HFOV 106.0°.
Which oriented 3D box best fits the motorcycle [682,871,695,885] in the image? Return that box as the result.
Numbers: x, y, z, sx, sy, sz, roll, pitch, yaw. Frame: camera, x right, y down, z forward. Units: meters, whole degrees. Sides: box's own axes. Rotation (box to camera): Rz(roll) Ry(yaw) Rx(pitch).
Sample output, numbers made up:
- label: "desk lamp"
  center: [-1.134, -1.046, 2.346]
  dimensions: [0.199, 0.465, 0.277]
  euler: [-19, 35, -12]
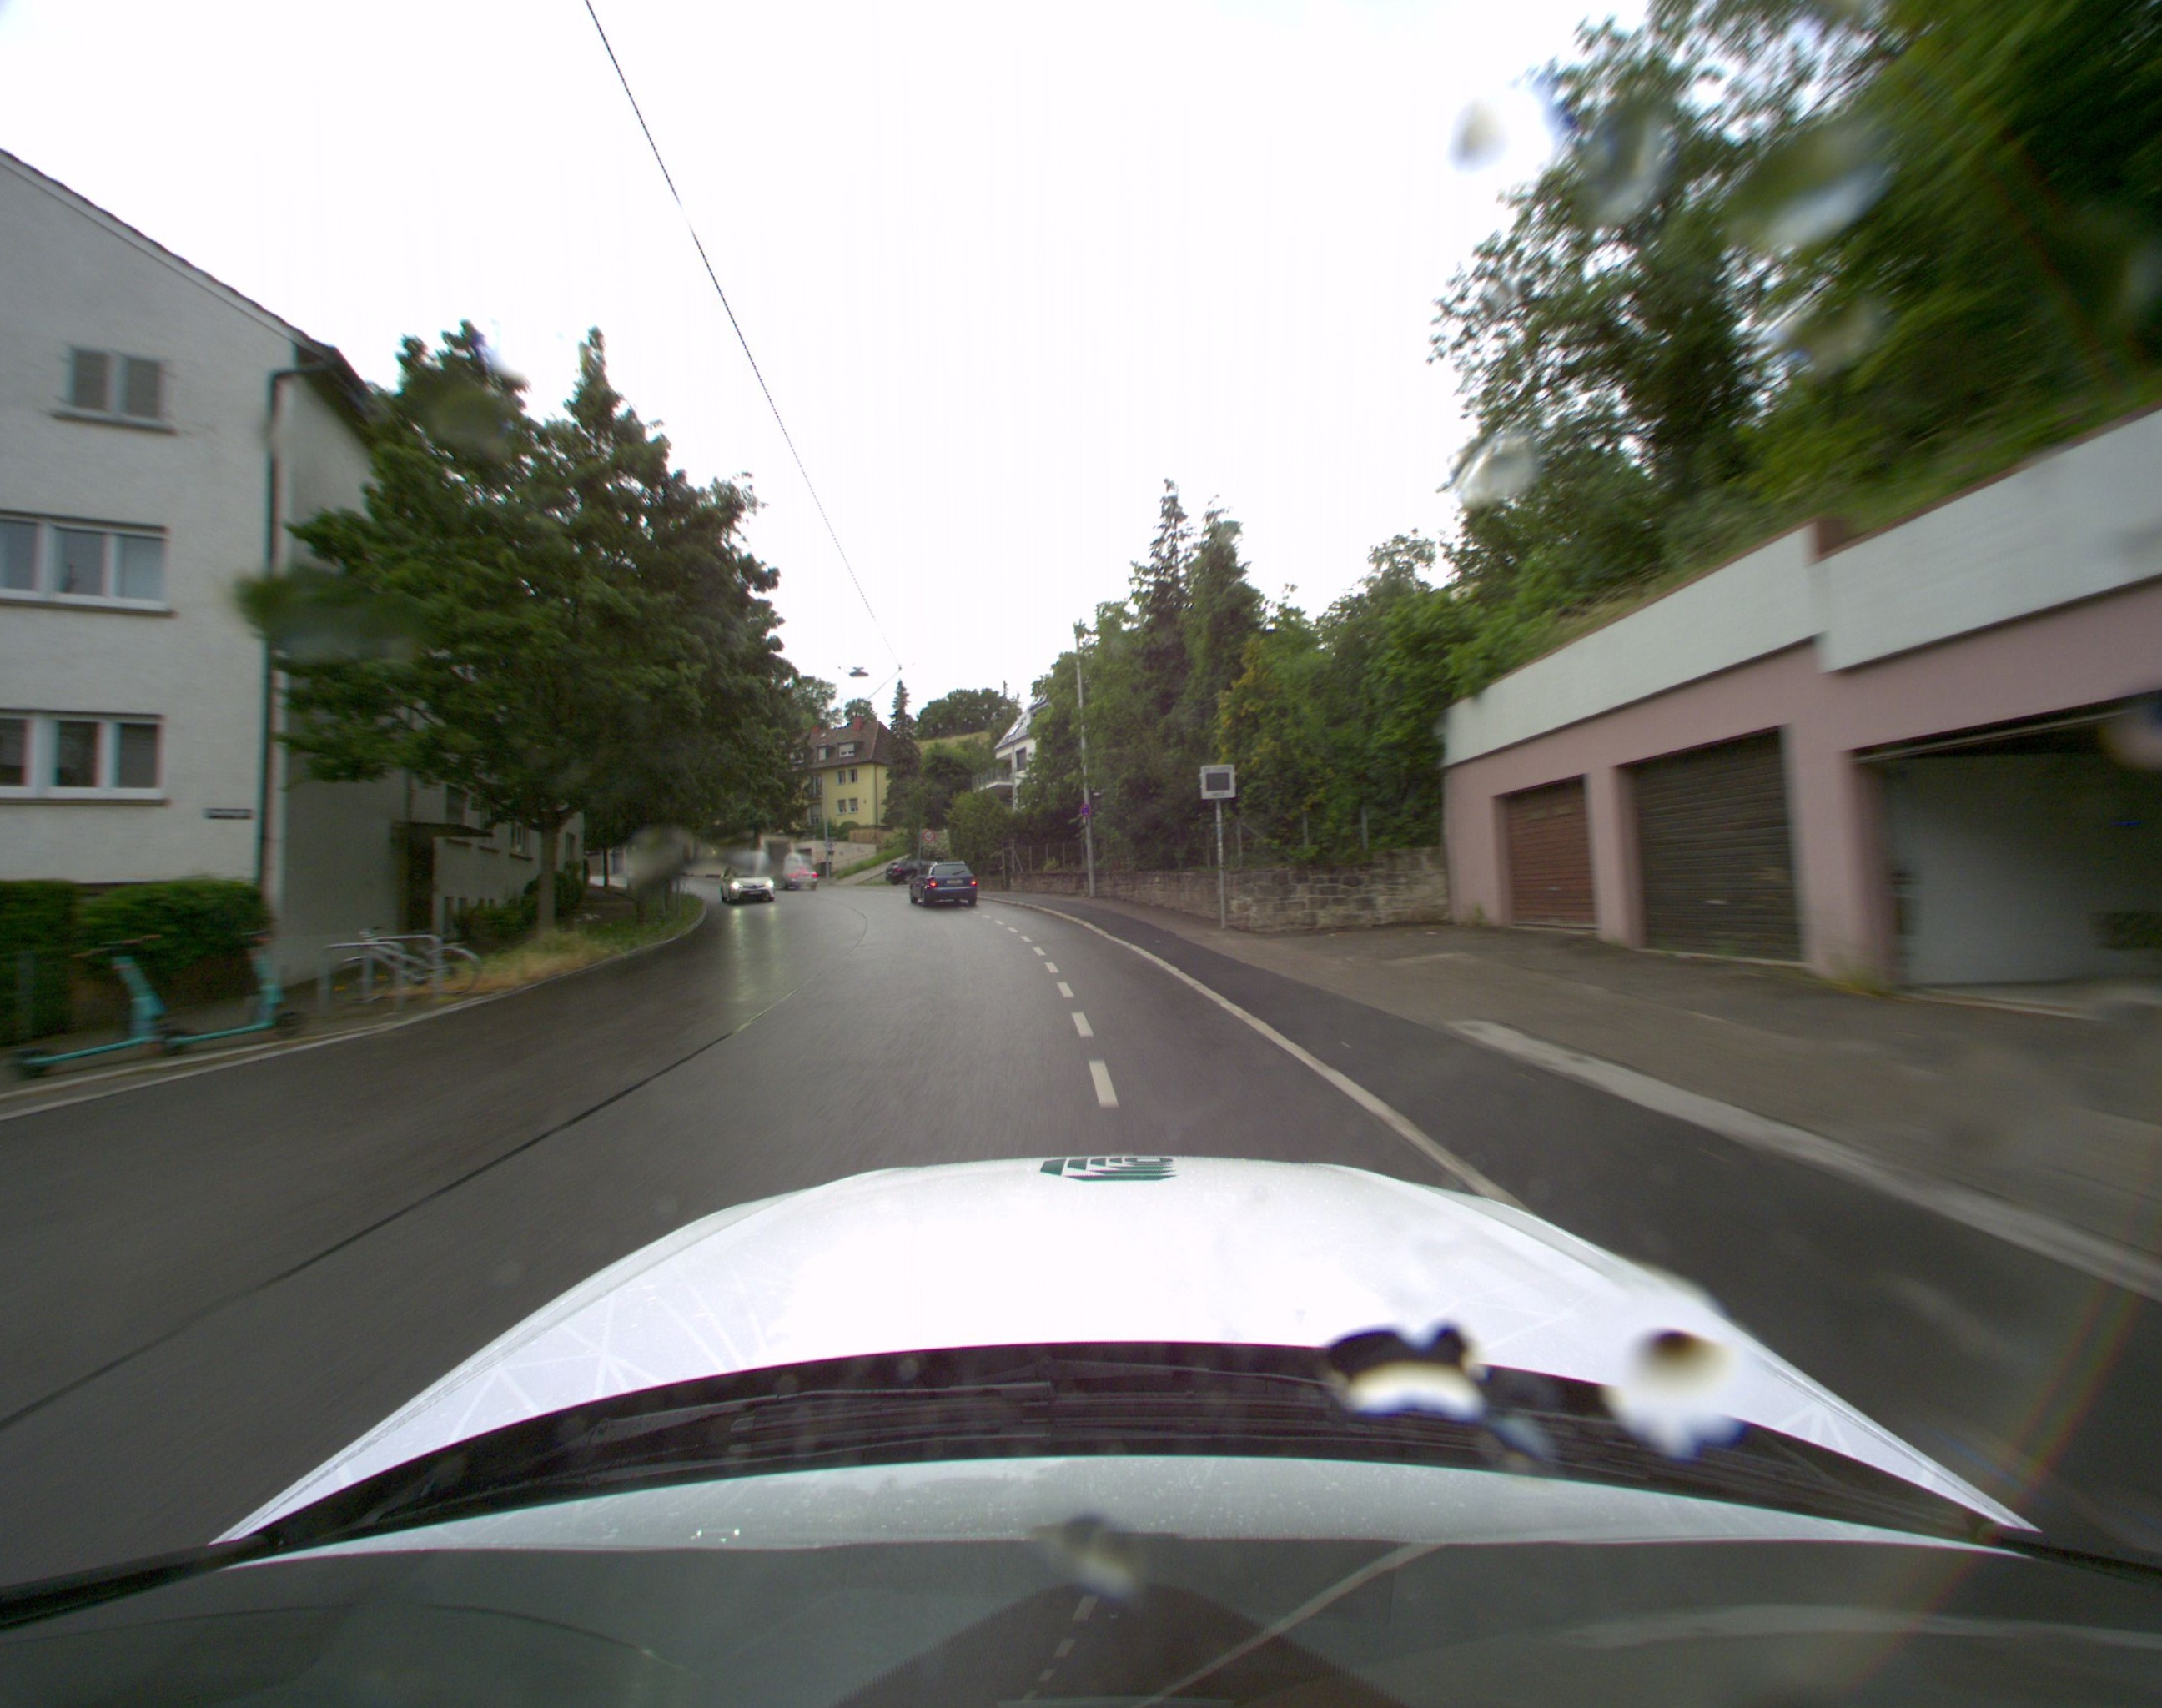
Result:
- label: "motorcycle"
  center: [-34.546, 2.098, 71.658]
  dimensions: [0.553, 1.131, 1.422]
  euler: [-1, 0, -44]

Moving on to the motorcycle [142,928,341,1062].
- label: "motorcycle"
  center: [-9.044, 1.477, 8.849]
  dimensions: [0.553, 1.203, 1.402]
  euler: [-2, 0, 10]

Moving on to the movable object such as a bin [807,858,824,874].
- label: "movable object such as a bin"
  center: [-20.032, 0.886, 61.406]
  dimensions: [0.789, 1.142, 0.867]
  euler: [-2, 0, 30]

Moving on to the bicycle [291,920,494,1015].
- label: "bicycle"
  center: [-9.484, 1.543, 11.316]
  dimensions: [1.969, 1.060, 0.749]
  euler: [-2, 0, -19]

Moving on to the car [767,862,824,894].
- label: "car"
  center: [-16.295, 1.330, 46.366]
  dimensions: [1.965, 1.561, 4.217]
  euler: [1, 0, -36]

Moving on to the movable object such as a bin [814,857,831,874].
- label: "movable object such as a bin"
  center: [-19.343, 0.850, 61.006]
  dimensions: [0.777, 1.185, 0.867]
  euler: [-2, 0, 30]

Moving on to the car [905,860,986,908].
- label: "car"
  center: [-4.652, 0.951, 27.527]
  dimensions: [1.861, 1.414, 4.331]
  euler: [-2, 0, -21]

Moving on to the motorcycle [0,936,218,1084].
- label: "motorcycle"
  center: [-9.731, 1.513, 8.195]
  dimensions: [0.549, 1.228, 1.309]
  euler: [-2, 0, 10]

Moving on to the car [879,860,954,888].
- label: "car"
  center: [-10.041, 1.214, 49.969]
  dimensions: [4.207, 1.508, 1.719]
  euler: [-2, 0, -45]

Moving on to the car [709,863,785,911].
- label: "car"
  center: [-14.464, 1.373, 35.133]
  dimensions: [1.999, 1.788, 4.644]
  euler: [-5, 1, -34]

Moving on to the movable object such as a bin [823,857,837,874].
- label: "movable object such as a bin"
  center: [-18.709, 0.842, 60.691]
  dimensions: [0.573, 1.223, 0.709]
  euler: [-2, 0, 30]
